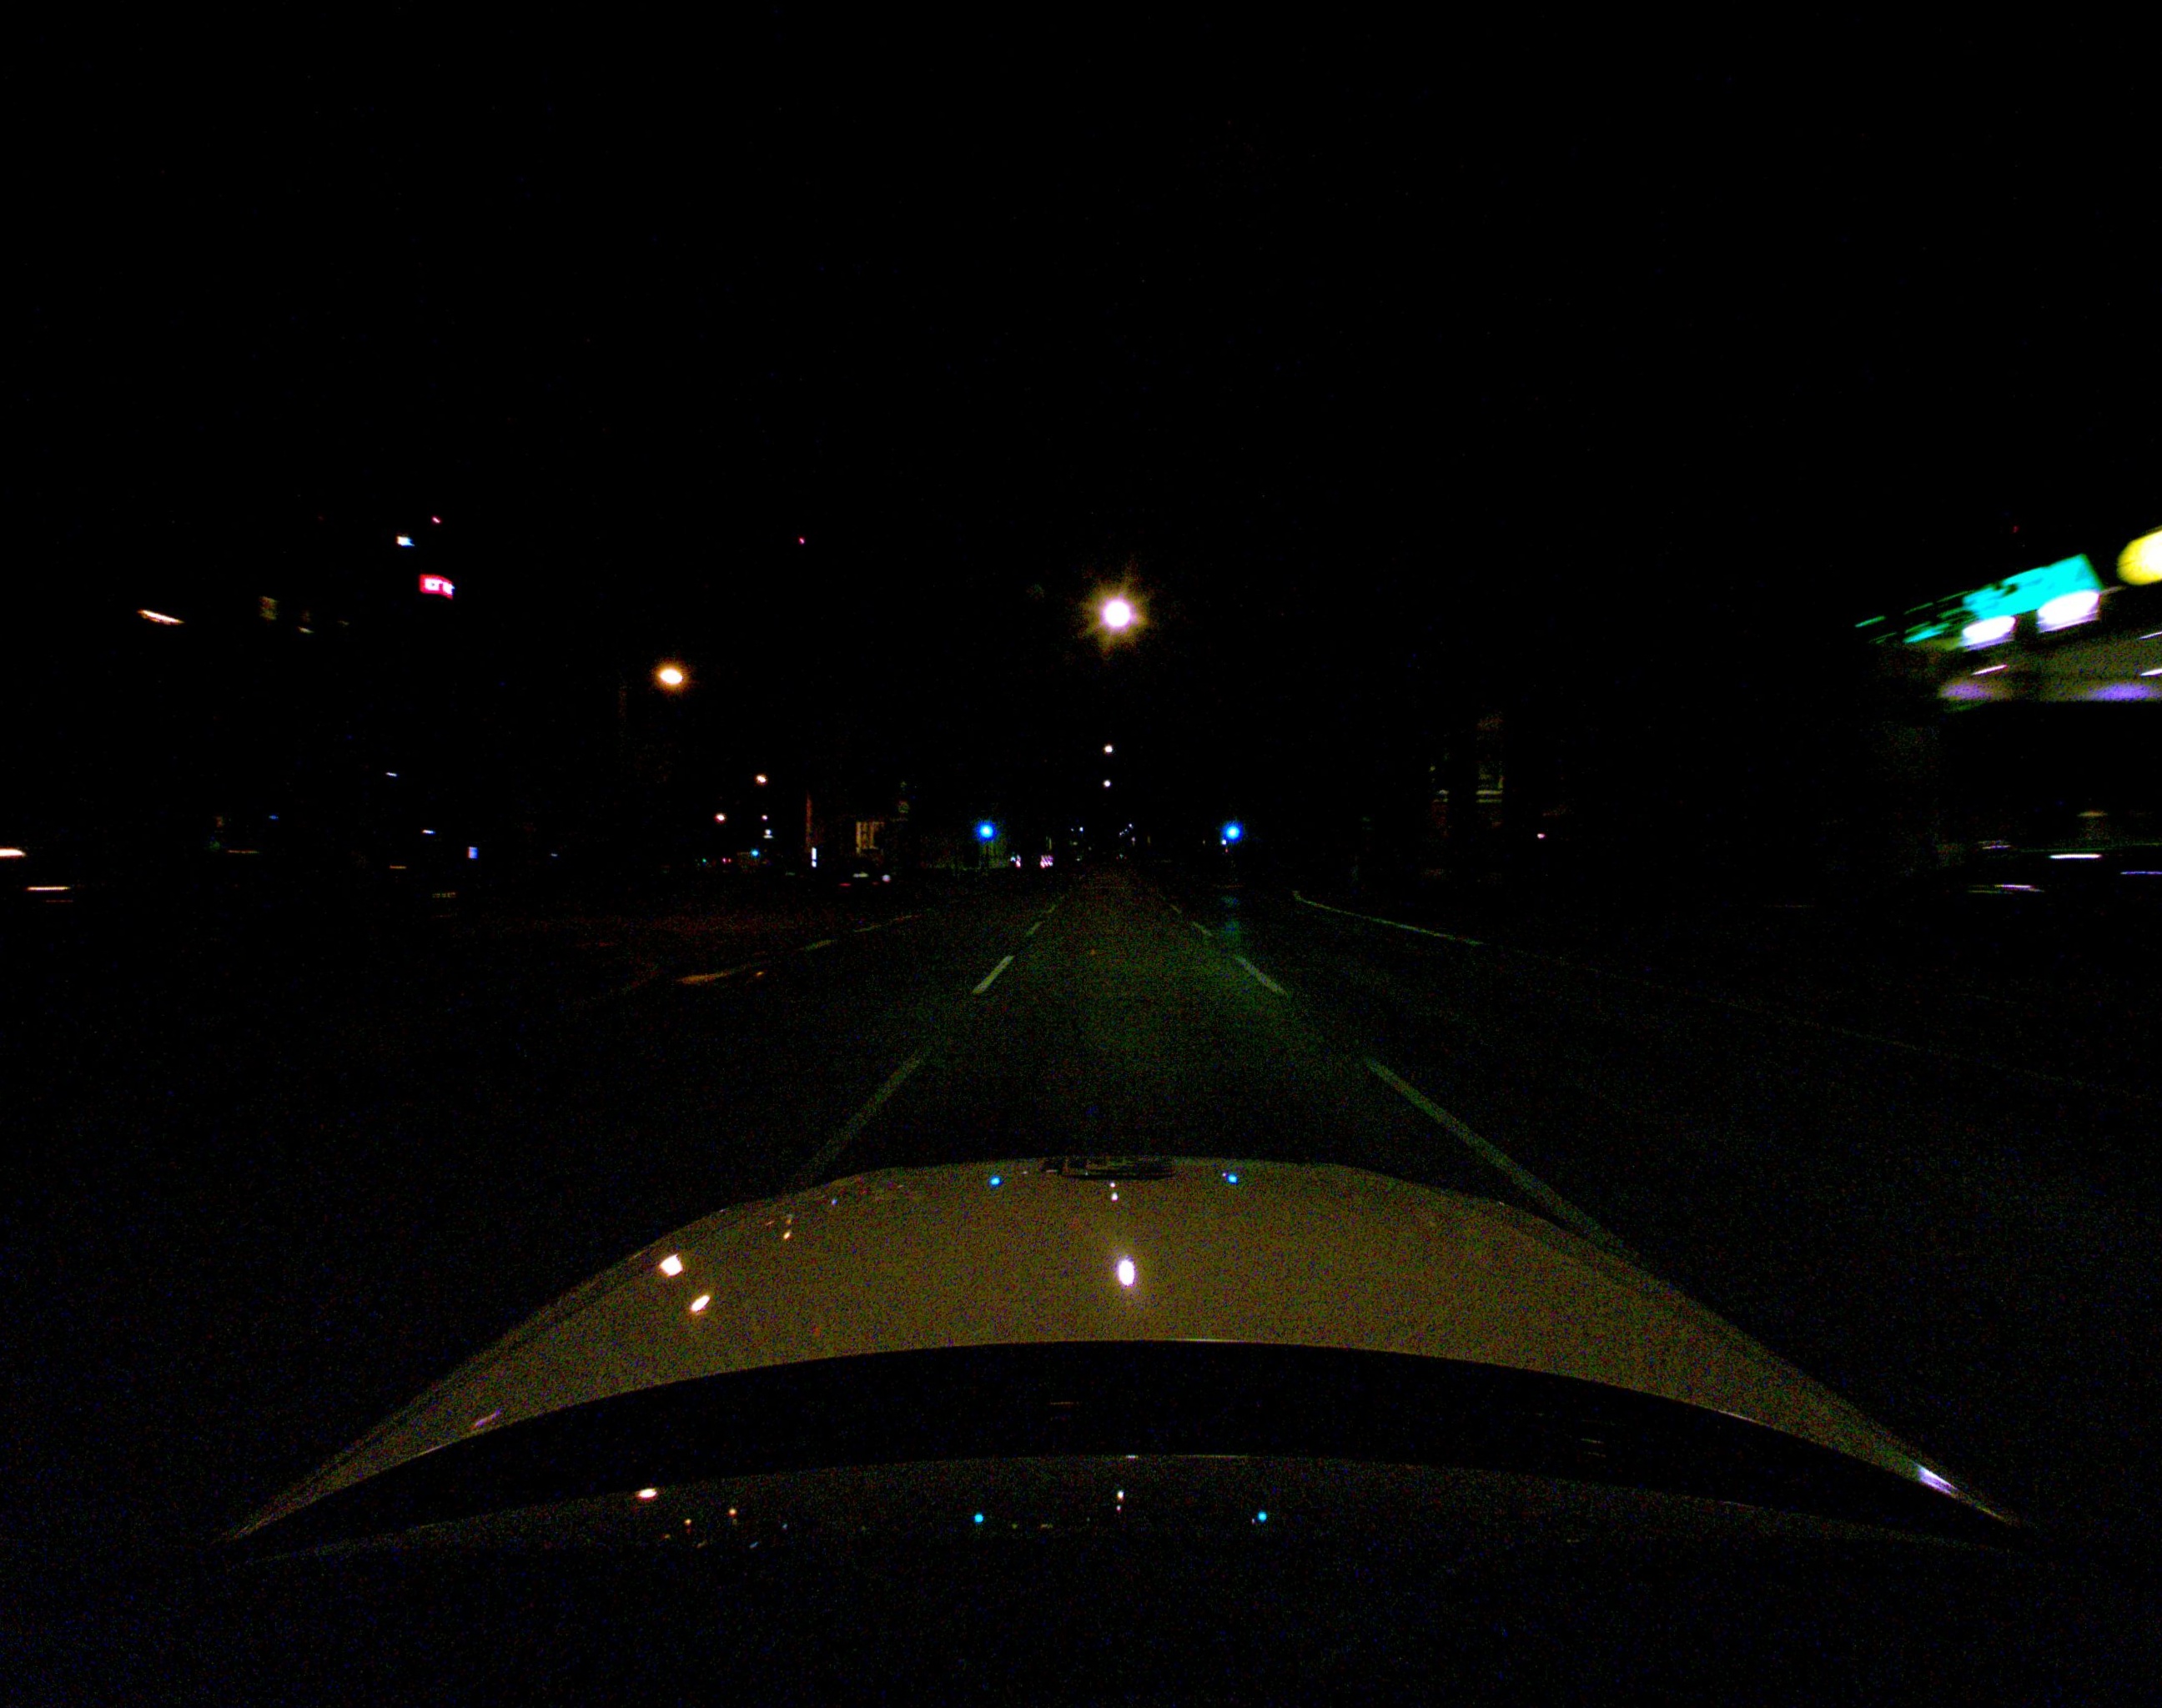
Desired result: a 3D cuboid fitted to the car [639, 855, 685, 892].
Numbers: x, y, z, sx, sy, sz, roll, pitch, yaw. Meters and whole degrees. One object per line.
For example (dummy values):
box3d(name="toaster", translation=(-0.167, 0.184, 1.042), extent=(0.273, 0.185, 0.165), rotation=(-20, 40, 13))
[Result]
box3d(name="car", translation=(-20.330, 0.922, 39.551), extent=(1.847, 1.613, 4.222), rotation=(-2, 0, -27))

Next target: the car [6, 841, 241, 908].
box3d(name="car", translation=(-27.052, 0.613, 23.127), extent=(4.321, 1.754, 1.962), rotation=(1, -4, 3))

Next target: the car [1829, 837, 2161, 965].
box3d(name="car", translation=(12.292, 0.536, 10.270), extent=(4.067, 1.454, 1.787), rotation=(-1, -1, 0))

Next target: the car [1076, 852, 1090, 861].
box3d(name="car", translation=(0.317, 0.431, 138.512), extent=(1.836, 1.507, 4.733), rotation=(-1, 0, -5))

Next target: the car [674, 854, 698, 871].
box3d(name="car", translation=(-41.194, 0.856, 84.963), extent=(1.905, 1.735, 3.970), rotation=(0, -1, -22))

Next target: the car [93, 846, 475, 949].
box3d(name="car", translation=(-13.735, 0.717, 14.289), extent=(4.645, 1.629, 2.003), rotation=(-1, -1, -1))

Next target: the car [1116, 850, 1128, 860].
box3d(name="car", translation=(6.937, 0.148, 137.645), extent=(1.876, 1.603, 4.111), rotation=(-2, -1, 4))

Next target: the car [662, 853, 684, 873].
box3d(name="car", translation=(-39.240, 0.835, 78.356), extent=(1.804, 1.809, 3.967), rotation=(0, 0, -25))

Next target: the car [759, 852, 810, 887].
box3d(name="car", translation=(-15.068, 0.772, 41.258), extent=(1.924, 1.644, 4.075), rotation=(3, -2, -27))

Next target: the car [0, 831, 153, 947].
box3d(name="car", translation=(-19.867, 0.559, 14.199), extent=(4.972, 1.890, 2.028), rotation=(0, 0, -1))

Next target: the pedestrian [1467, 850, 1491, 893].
box3d(name="pedestrian", translation=(14.458, 0.625, 29.581), extent=(0.570, 1.533, 0.634), rotation=(0, 0, 2))

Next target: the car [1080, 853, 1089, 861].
box3d(name="car", translation=(0.681, 0.621, 166.500), extent=(1.671, 1.566, 4.106), rotation=(-1, -1, 1))

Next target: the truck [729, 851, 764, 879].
box3d(name="truck", translation=(-22.813, 0.736, 55.426), extent=(1.900, 1.807, 4.078), rotation=(0, -1, -26))

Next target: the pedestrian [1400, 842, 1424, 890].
box3d(name="pedestrian", translation=(12.728, 0.447, 31.354), extent=(0.619, 1.811, 0.759), rotation=(0, 0, 2))

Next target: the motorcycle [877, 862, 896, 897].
box3d(name="motorcycle", translation=(-7.006, 0.893, 29.264), extent=(0.573, 1.180, 2.021), rotation=(0, 0, -15))

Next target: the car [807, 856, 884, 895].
box3d(name="car", translation=(-9.455, 0.818, 32.490), extent=(1.898, 1.424, 4.684), rotation=(-1, 0, -30))

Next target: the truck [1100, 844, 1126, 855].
box3d(name="truck", translation=(8.408, -1.137, 215.258), extent=(6.757, 2.844, 1.999), rotation=(0, 0, -2))

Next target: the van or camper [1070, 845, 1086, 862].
box3d(name="van or camper", translation=(-0.438, -0.024, 127.310), extent=(2.150, 2.535, 6.228), rotation=(-3, 0, 1))

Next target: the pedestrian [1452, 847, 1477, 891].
box3d(name="pedestrian", translation=(14.435, 0.543, 30.640), extent=(0.619, 1.639, 0.679), rotation=(0, 0, 2))

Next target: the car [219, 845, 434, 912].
box3d(name="car", translation=(-21.414, 0.699, 23.238), extent=(4.320, 1.754, 1.958), rotation=(1, -2, 3))
